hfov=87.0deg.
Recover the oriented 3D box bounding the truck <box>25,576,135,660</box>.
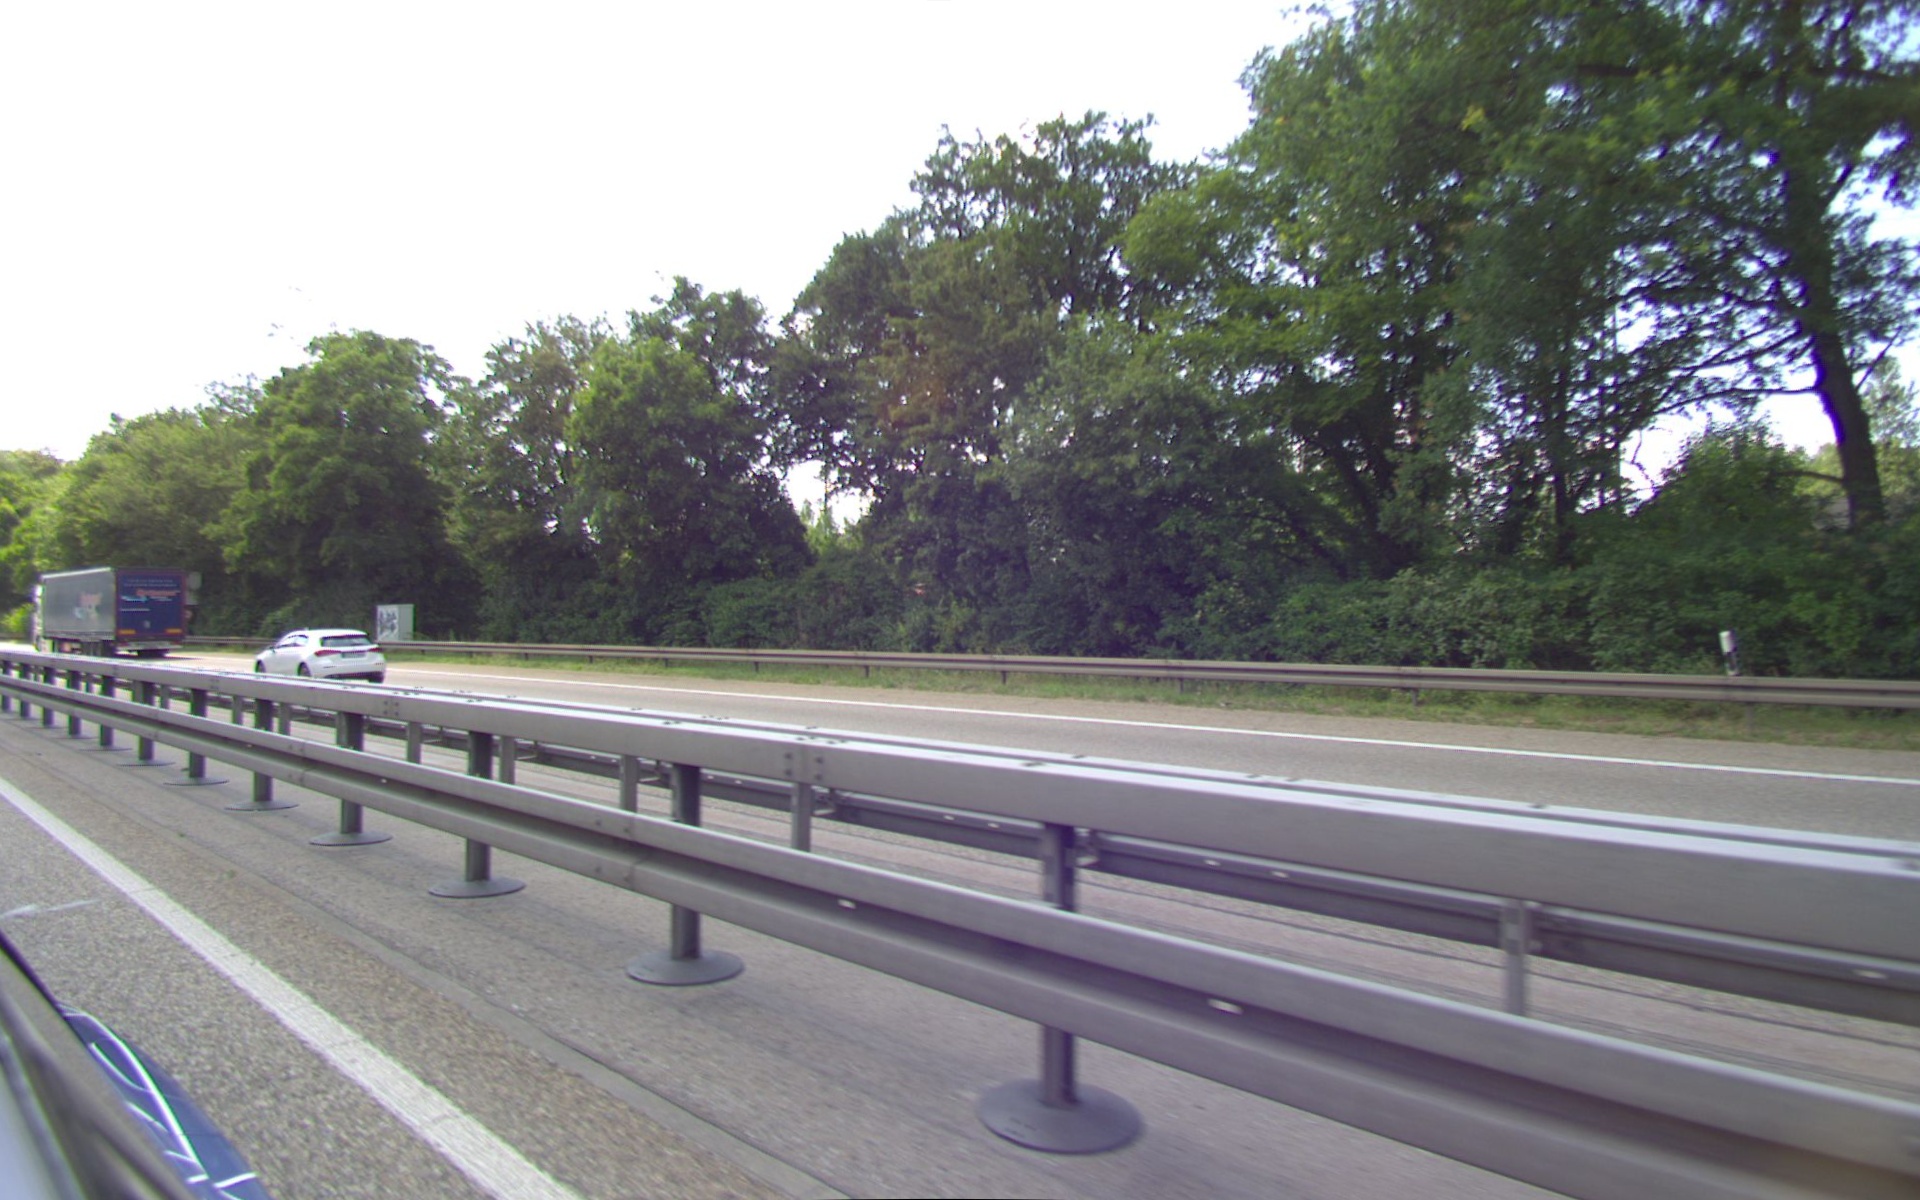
[{"bbox_3d":[-45.898,0.898,52.755,6.124,4.128,3.342,-1,0,39],"label":"truck"}]

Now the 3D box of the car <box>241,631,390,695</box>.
[{"bbox_3d":[-16.475,1.550,25.789,4.542,1.442,1.663,-1,0,36],"label":"car"}]

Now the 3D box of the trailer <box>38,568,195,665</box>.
[{"bbox_3d":[-40.480,0.720,48.316,12.966,4.110,3.371,-1,0,39],"label":"trailer"}]
